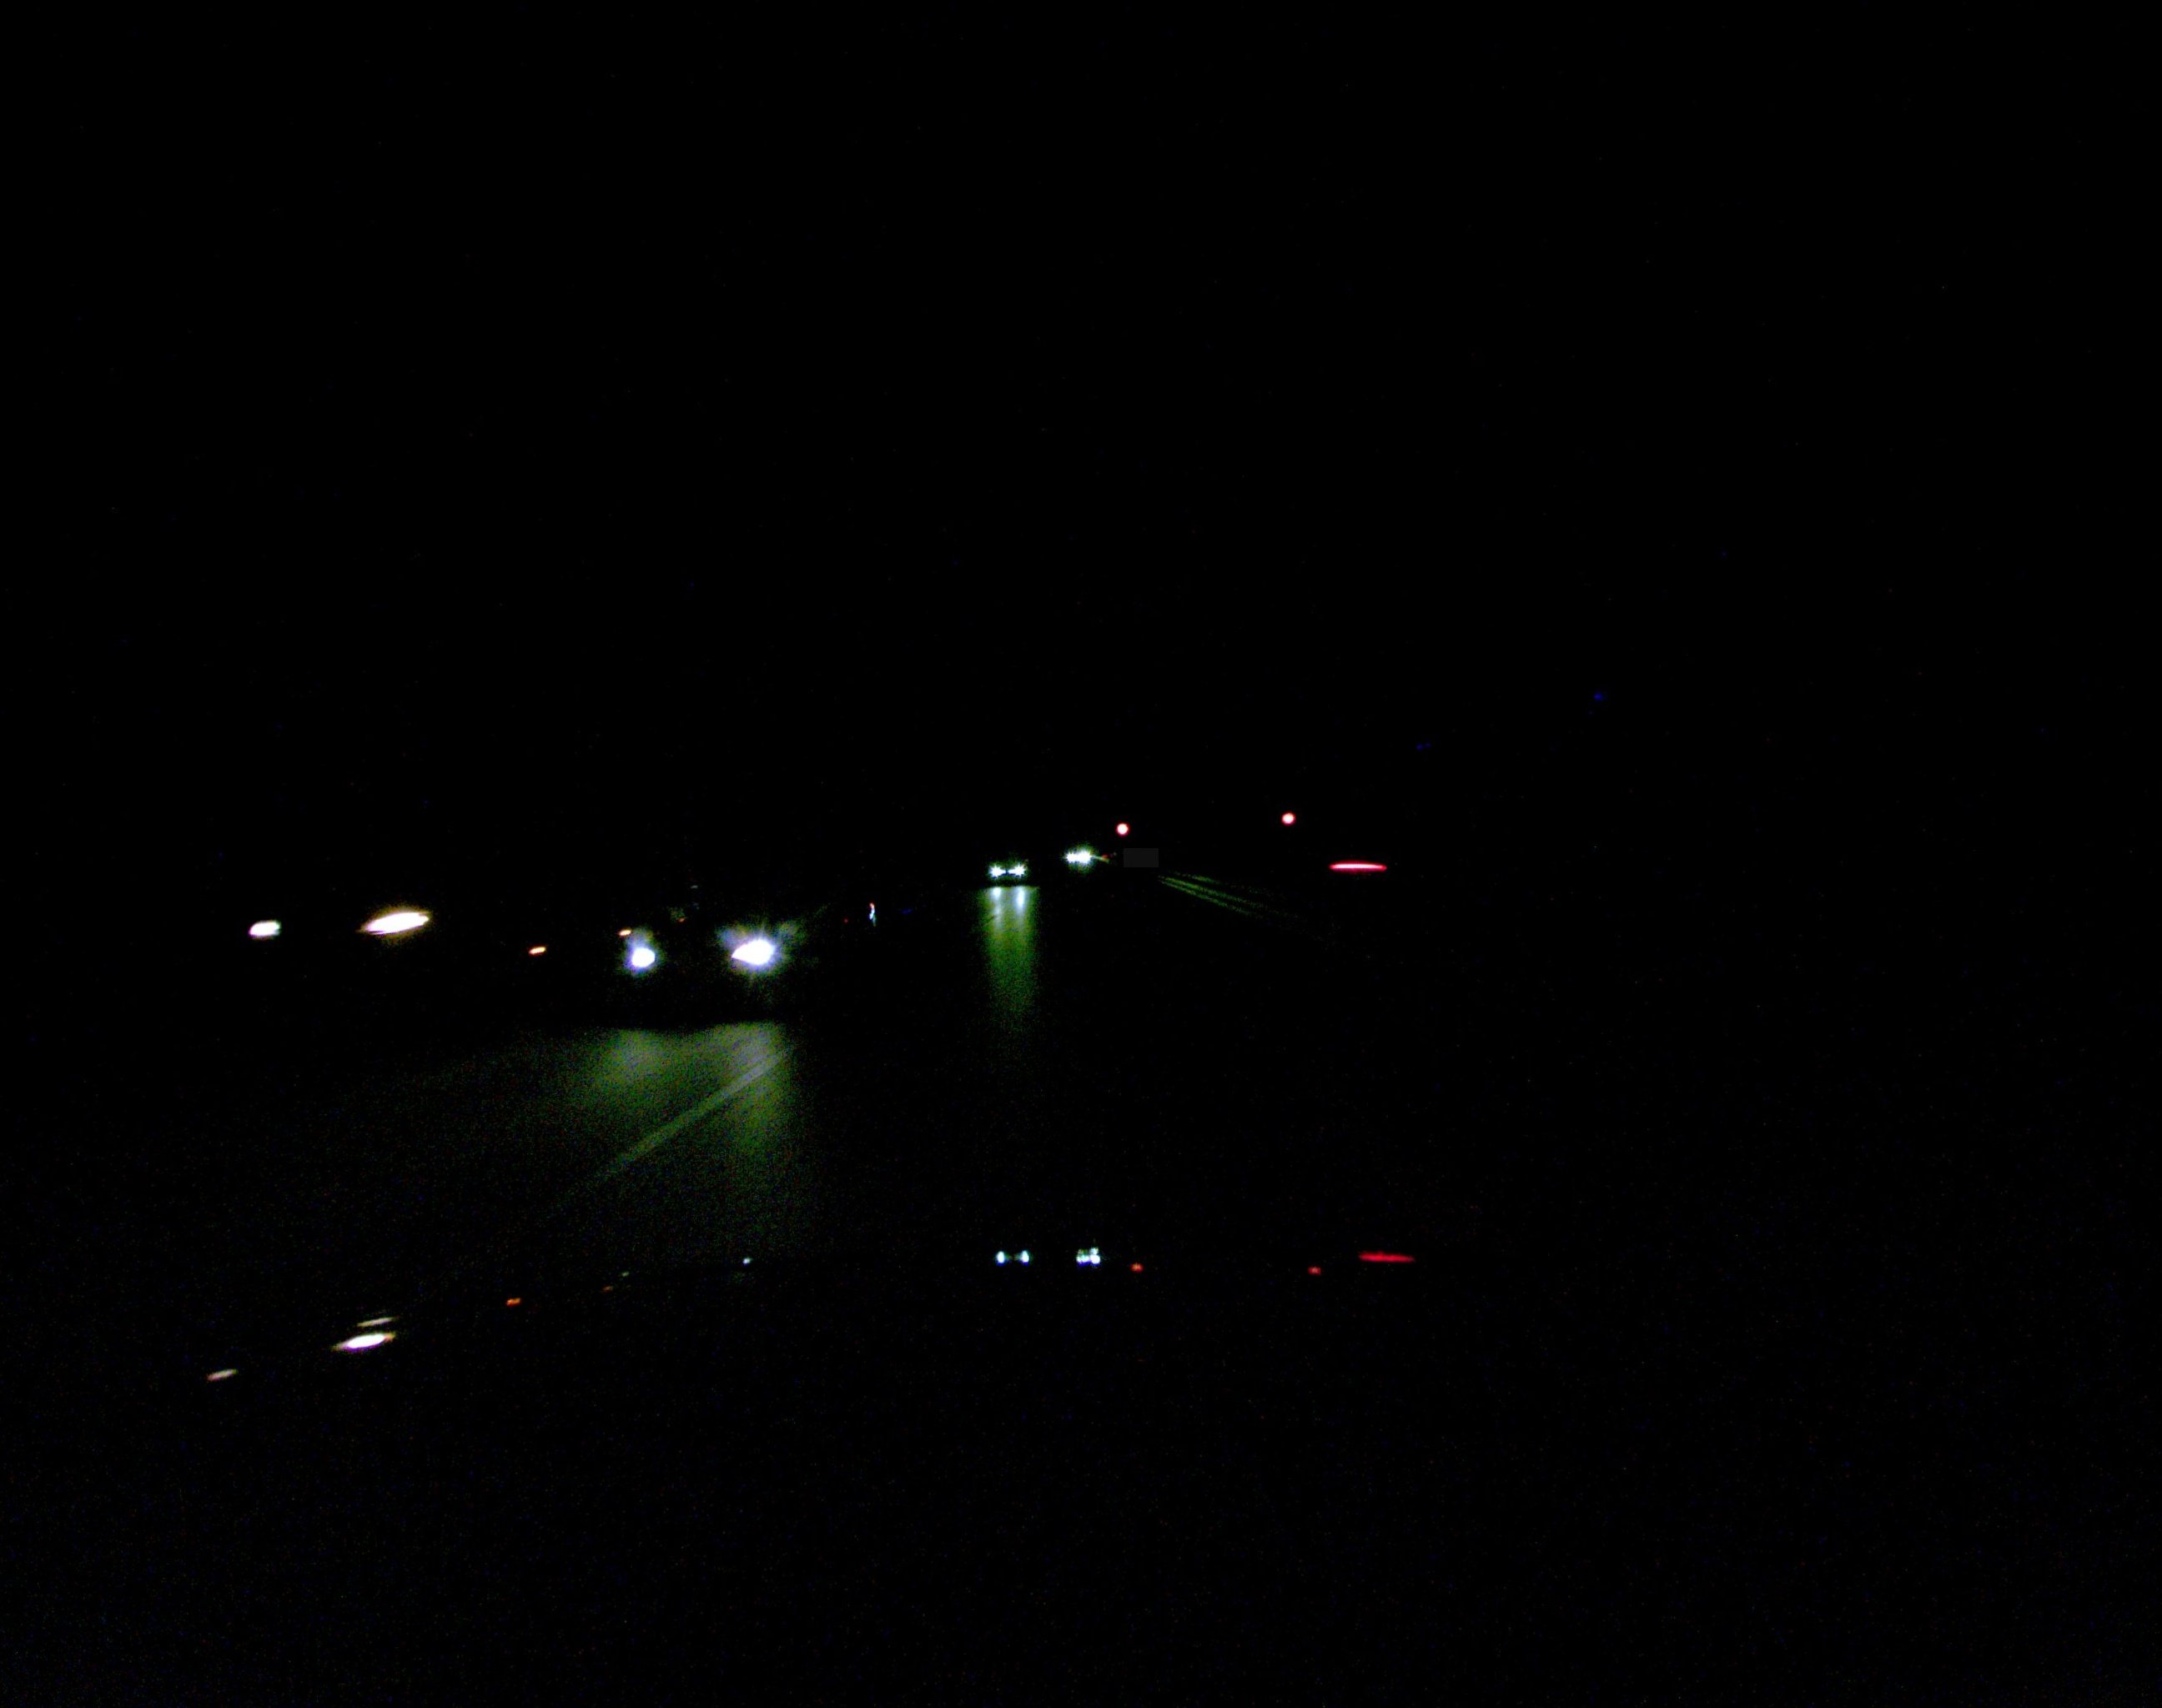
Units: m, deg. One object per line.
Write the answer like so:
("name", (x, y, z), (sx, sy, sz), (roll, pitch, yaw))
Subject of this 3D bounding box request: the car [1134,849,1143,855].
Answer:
("car", (15.362, -0.510, 204.755), (1.998, 1.542, 5.004), (2, 0, 0))

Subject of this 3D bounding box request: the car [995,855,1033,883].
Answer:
("car", (-3.992, 0.890, 45.799), (1.795, 1.532, 4.225), (-2, 0, 1))

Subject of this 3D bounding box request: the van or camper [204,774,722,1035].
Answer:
("van or camper", (-8.298, 0.543, 11.639), (2.212, 2.755, 6.804), (-2, 0, 1))

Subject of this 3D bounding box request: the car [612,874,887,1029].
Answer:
("car", (-3.998, 1.079, 10.042), (1.690, 1.405, 4.225), (-2, 1, 1))

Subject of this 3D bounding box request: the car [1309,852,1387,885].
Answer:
("car", (12.873, 0.655, 36.925), (1.999, 1.453, 4.690), (0, 1, -2))
